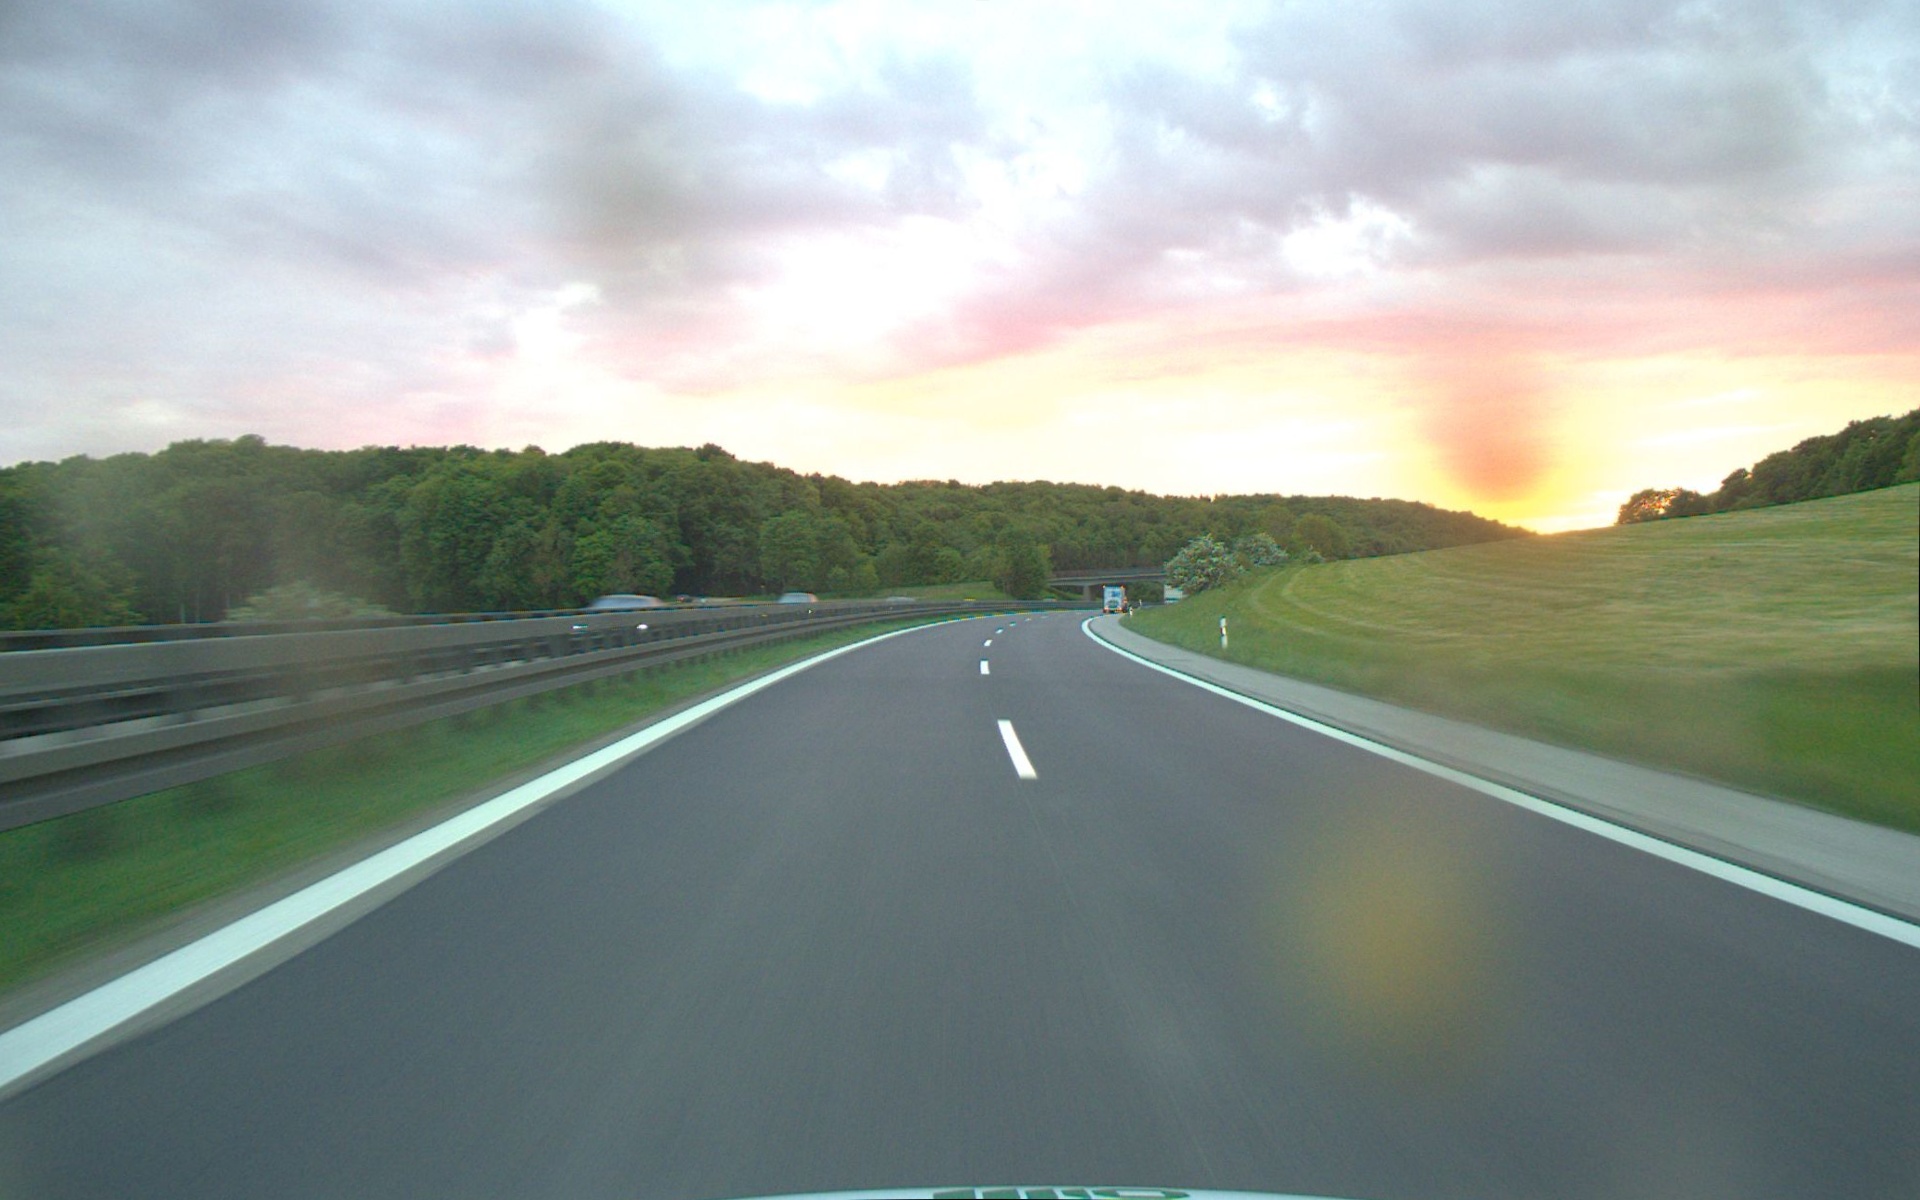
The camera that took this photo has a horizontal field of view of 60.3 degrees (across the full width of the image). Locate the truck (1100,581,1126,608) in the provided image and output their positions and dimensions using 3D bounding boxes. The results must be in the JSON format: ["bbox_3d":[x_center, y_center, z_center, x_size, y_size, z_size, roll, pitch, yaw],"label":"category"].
[{"bbox_3d":[15.902,-0.552,171.995,2.227,2.711,5.241,-2,0,10],"label":"truck"}]

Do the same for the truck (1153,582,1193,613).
[{"bbox_3d":[31.240,-0.380,241.707,3.874,4.362,14.333,0,0,15],"label":"truck"}]

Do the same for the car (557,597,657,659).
[{"bbox_3d":[-9.377,0.704,44.215,1.827,1.541,4.000,1,0,0],"label":"car"}]
